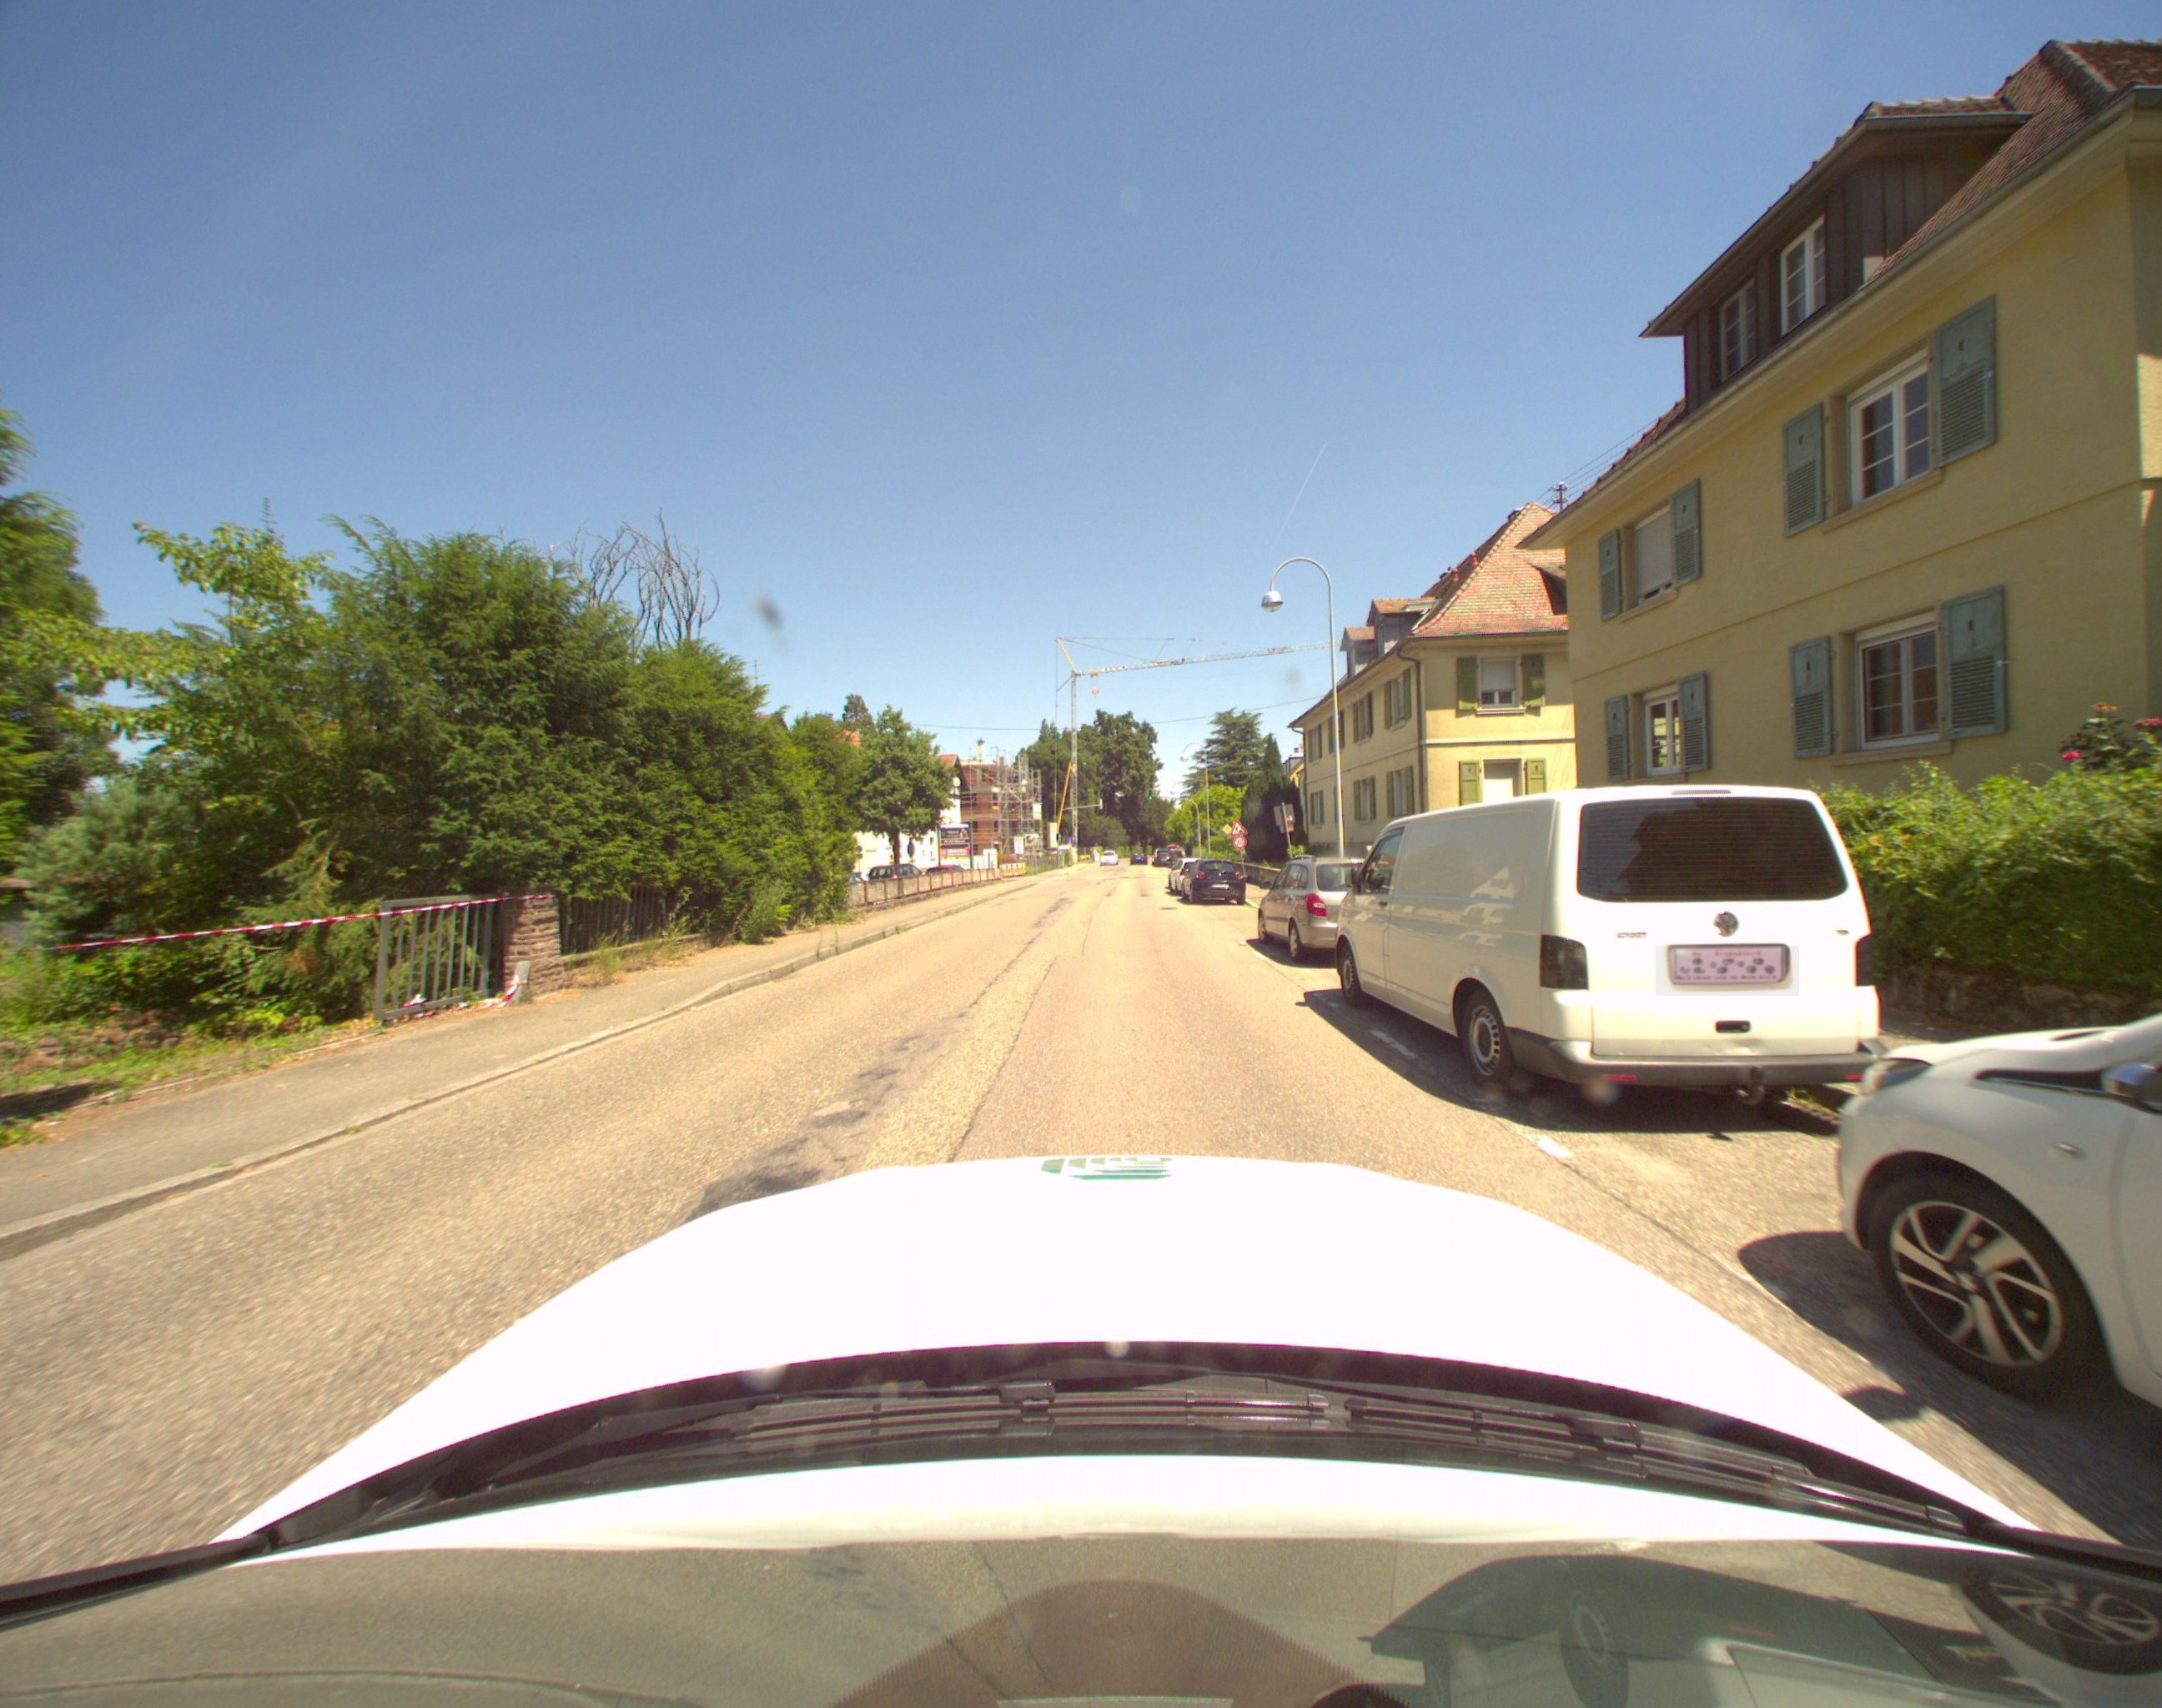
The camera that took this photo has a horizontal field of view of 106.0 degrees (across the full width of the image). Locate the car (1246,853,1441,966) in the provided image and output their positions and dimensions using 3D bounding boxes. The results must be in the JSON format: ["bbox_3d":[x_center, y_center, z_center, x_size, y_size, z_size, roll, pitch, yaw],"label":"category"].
[{"bbox_3d":[3.867,0.736,12.795,1.755,1.451,4.224,-1,0,1],"label":"car"}]

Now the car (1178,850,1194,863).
[{"bbox_3d":[14.639,0.327,113.231,1.982,1.662,4.010,-2,-1,9],"label":"car"}]

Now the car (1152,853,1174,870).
[{"bbox_3d":[8.208,0.727,81.302,1.983,1.574,4.007,-2,-1,6],"label":"car"}]

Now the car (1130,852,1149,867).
[{"bbox_3d":[6.572,0.616,91.388,1.948,1.468,4.008,-1,1,7],"label":"car"}]

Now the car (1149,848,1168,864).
[{"bbox_3d":[8.703,0.217,91.153,1.983,1.662,4.007,-2,-1,6],"label":"car"}]

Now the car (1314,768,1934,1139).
[{"bbox_3d":[3.519,0.528,6.657,1.986,1.901,4.824,1,0,2],"label":"car"}]

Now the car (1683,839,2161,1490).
[{"bbox_3d":[3.276,0.682,1.445,1.755,1.451,3.649,-1,0,1],"label":"car"}]

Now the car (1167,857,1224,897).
[{"bbox_3d":[4.463,0.873,32.164,1.755,1.451,3.890,-1,0,1],"label":"car"}]

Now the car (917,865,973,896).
[{"bbox_3d":[-6.685,1.284,40.387,1.650,1.389,3.543,-2,-1,8],"label":"car"}]

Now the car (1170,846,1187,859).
[{"bbox_3d":[13.012,-0.220,108.445,1.982,1.662,4.010,-2,-1,9],"label":"car"}]

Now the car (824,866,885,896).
[{"bbox_3d":[-11.542,1.350,41.665,1.650,1.333,3.543,-2,-1,8],"label":"car"}]

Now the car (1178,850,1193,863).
[{"bbox_3d":[15.110,0.357,118.014,1.982,1.662,4.010,-2,-1,9],"label":"car"}]

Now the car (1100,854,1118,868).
[{"bbox_3d":[3.193,0.779,91.926,1.752,1.451,3.846,-1,0,6],"label":"car"}]

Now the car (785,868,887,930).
[{"bbox_3d":[-7.122,1.264,24.016,1.769,1.596,3.536,-2,-1,2],"label":"car"}]

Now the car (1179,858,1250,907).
[{"bbox_3d":[4.311,0.869,26.730,1.755,1.451,3.840,-1,0,1],"label":"car"}]

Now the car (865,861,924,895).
[{"bbox_3d":[-9.251,1.166,40.600,1.650,1.576,3.543,-2,-1,8],"label":"car"}]

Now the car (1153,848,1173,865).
[{"bbox_3d":[8.699,0.296,86.059,1.983,1.662,4.007,-2,-1,6],"label":"car"}]
